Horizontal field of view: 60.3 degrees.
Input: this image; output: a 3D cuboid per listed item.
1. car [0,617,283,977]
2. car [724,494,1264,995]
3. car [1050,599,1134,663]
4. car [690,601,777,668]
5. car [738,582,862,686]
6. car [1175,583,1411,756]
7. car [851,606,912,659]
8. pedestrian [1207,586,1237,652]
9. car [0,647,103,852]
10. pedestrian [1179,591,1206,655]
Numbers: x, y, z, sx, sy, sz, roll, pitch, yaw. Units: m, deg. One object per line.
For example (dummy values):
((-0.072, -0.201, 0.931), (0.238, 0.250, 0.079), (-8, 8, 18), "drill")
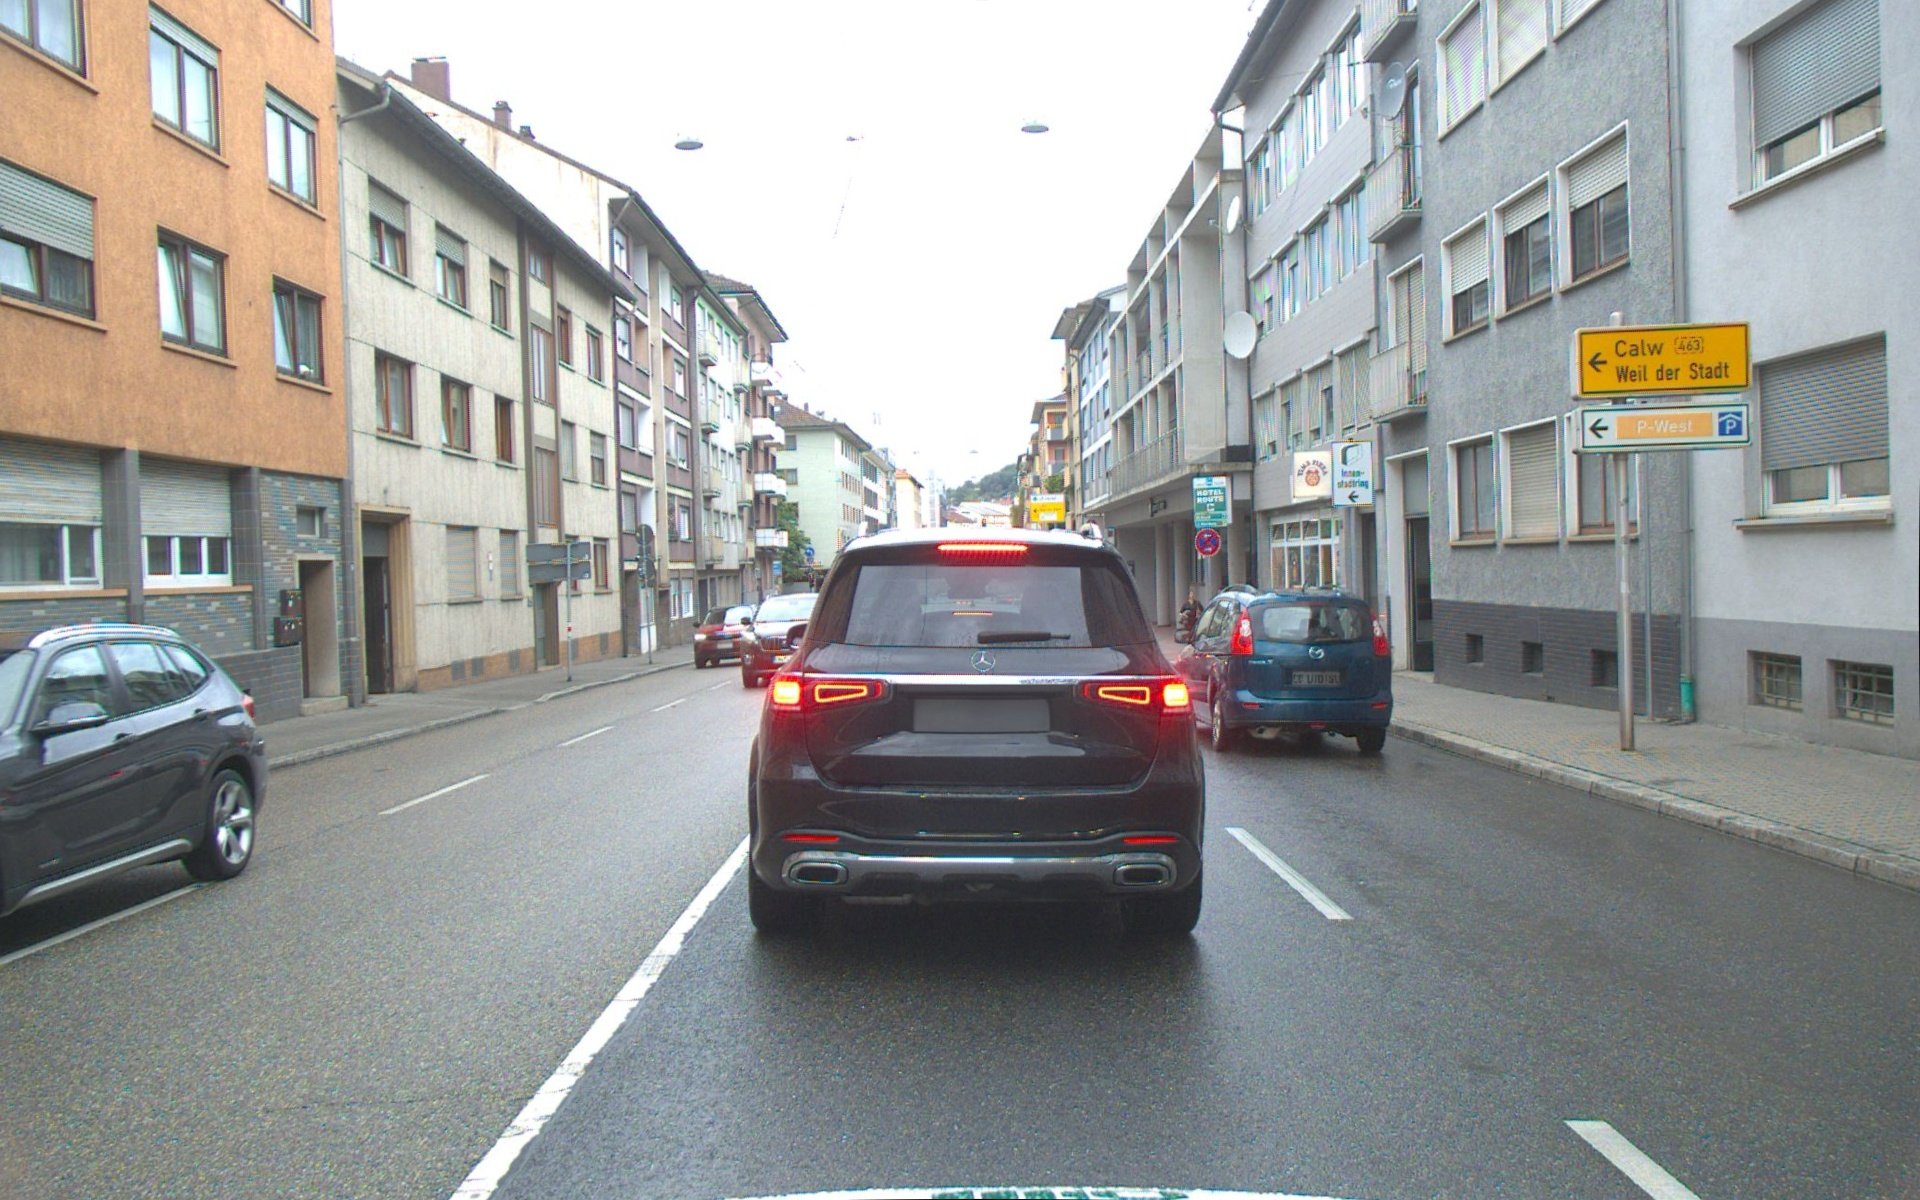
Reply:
((-5.108, 0.939, 8.342), (1.669, 1.533, 4.158), (-4, 0, -1), "car")
((0.088, 0.538, 8.170), (1.984, 1.837, 3.999), (1, 0, -1), "car")
((3.192, 0.723, 40.583), (1.588, 1.455, 4.311), (1, 0, -1), "car")
((-6.176, 0.905, 45.582), (1.761, 1.612, 4.315), (-3, 0, -1), "car")
((-3.031, 0.593, 32.129), (1.798, 1.757, 4.475), (-4, 0, 1), "car")
((3.439, 0.652, 17.842), (1.770, 1.634, 4.212), (0, 0, 1), "car")
((-2.919, 1.198, 62.509), (2.083, 1.750, 4.816), (-3, 0, -1), "car")
((6.518, 0.473, 41.133), (0.549, 1.606, 0.526), (-4, 0, -4), "pedestrian")
((-7.966, 1.124, 11.452), (1.759, 1.463, 4.525), (1, 0, -1), "car")
((5.776, 0.566, 41.096), (0.496, 1.526, 0.562), (-4, 0, -2), "pedestrian")
